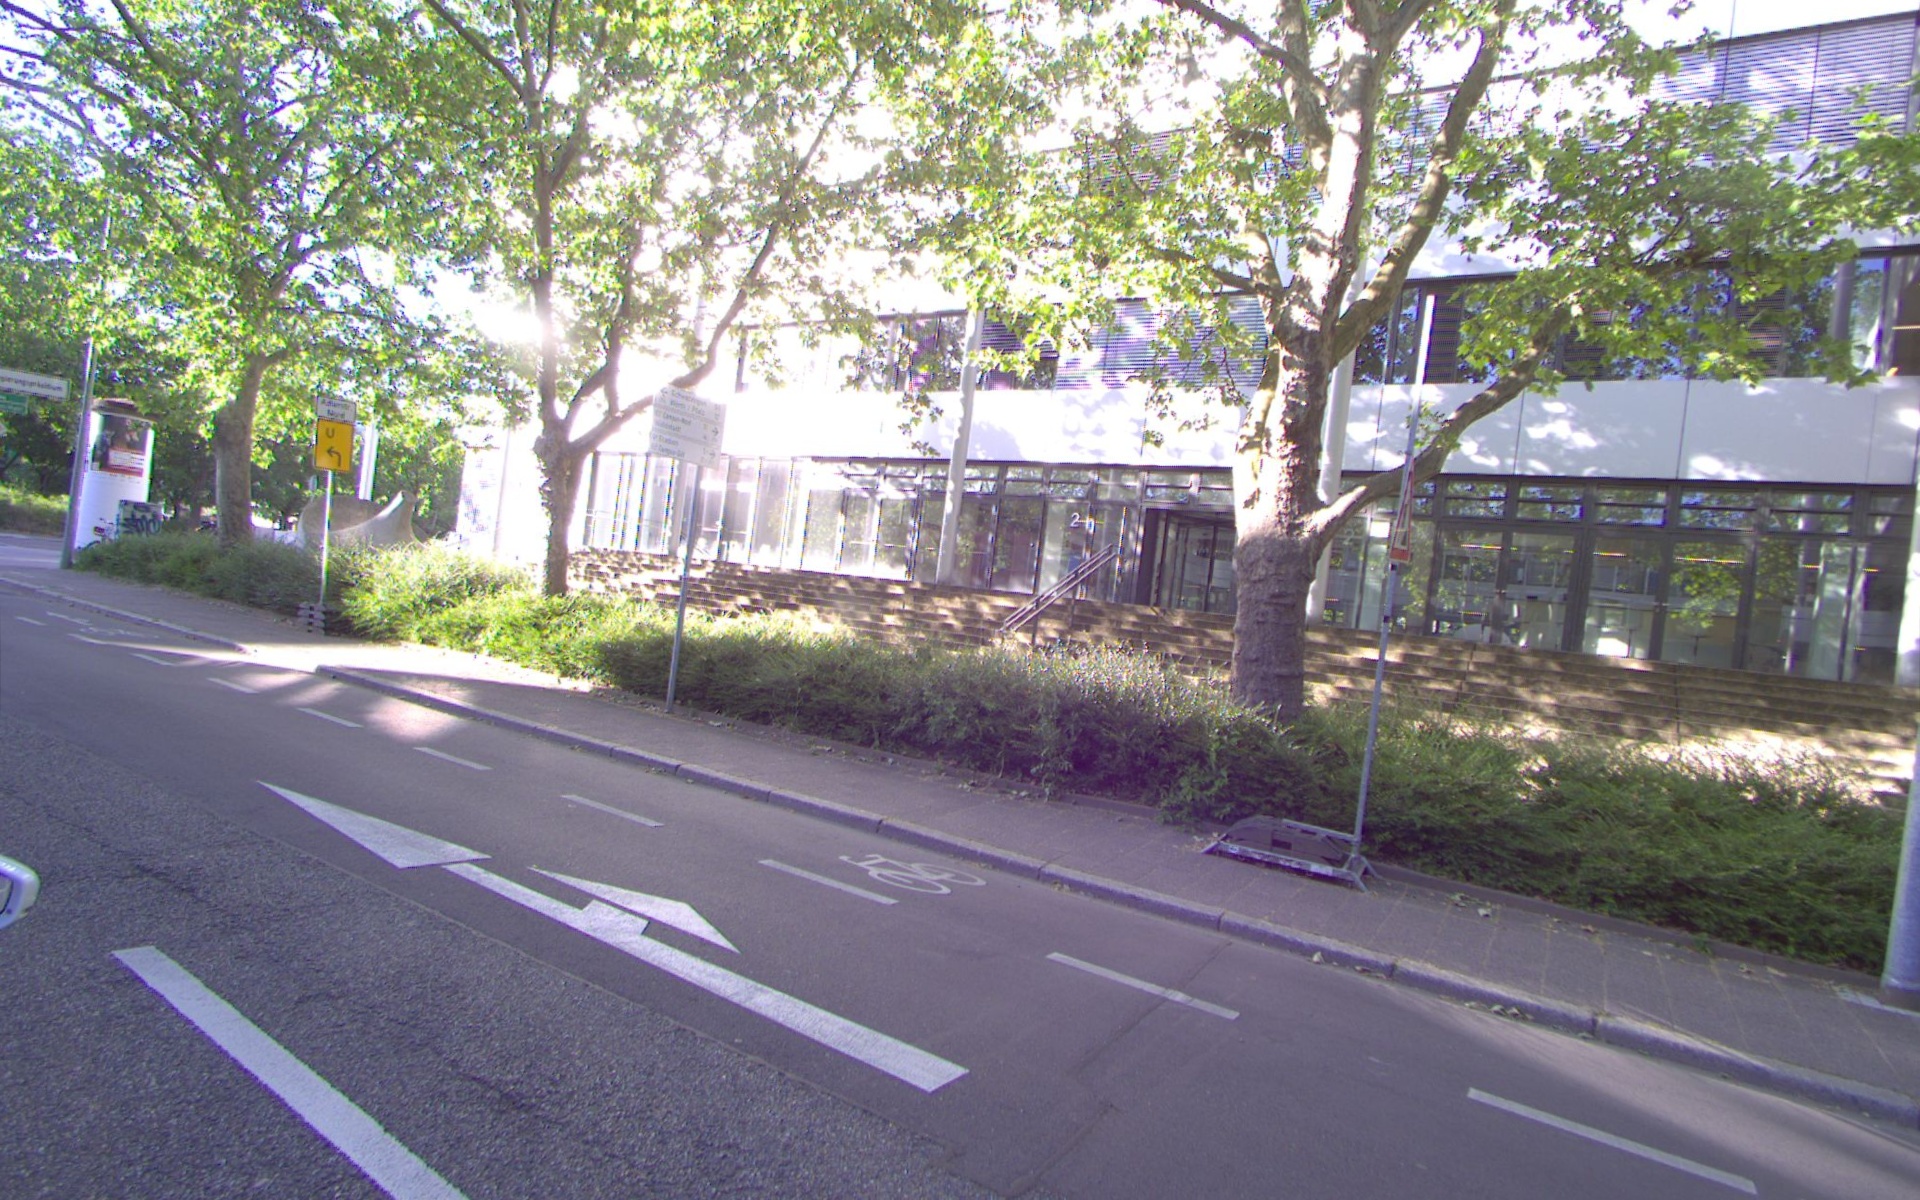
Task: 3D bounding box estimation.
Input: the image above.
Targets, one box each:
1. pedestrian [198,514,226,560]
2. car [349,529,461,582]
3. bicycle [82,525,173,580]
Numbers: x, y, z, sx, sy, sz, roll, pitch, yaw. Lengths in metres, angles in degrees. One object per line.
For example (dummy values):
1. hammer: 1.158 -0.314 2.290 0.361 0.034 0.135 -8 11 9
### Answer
1. pedestrian: -31.266 -2.622 42.045 0.620 1.805 0.620 7 0 34
2. car: -25.894 -2.043 47.011 1.969 1.805 3.998 7 -1 37
3. bicycle: -19.084 -1.083 23.086 0.529 1.049 1.418 7 -1 28
